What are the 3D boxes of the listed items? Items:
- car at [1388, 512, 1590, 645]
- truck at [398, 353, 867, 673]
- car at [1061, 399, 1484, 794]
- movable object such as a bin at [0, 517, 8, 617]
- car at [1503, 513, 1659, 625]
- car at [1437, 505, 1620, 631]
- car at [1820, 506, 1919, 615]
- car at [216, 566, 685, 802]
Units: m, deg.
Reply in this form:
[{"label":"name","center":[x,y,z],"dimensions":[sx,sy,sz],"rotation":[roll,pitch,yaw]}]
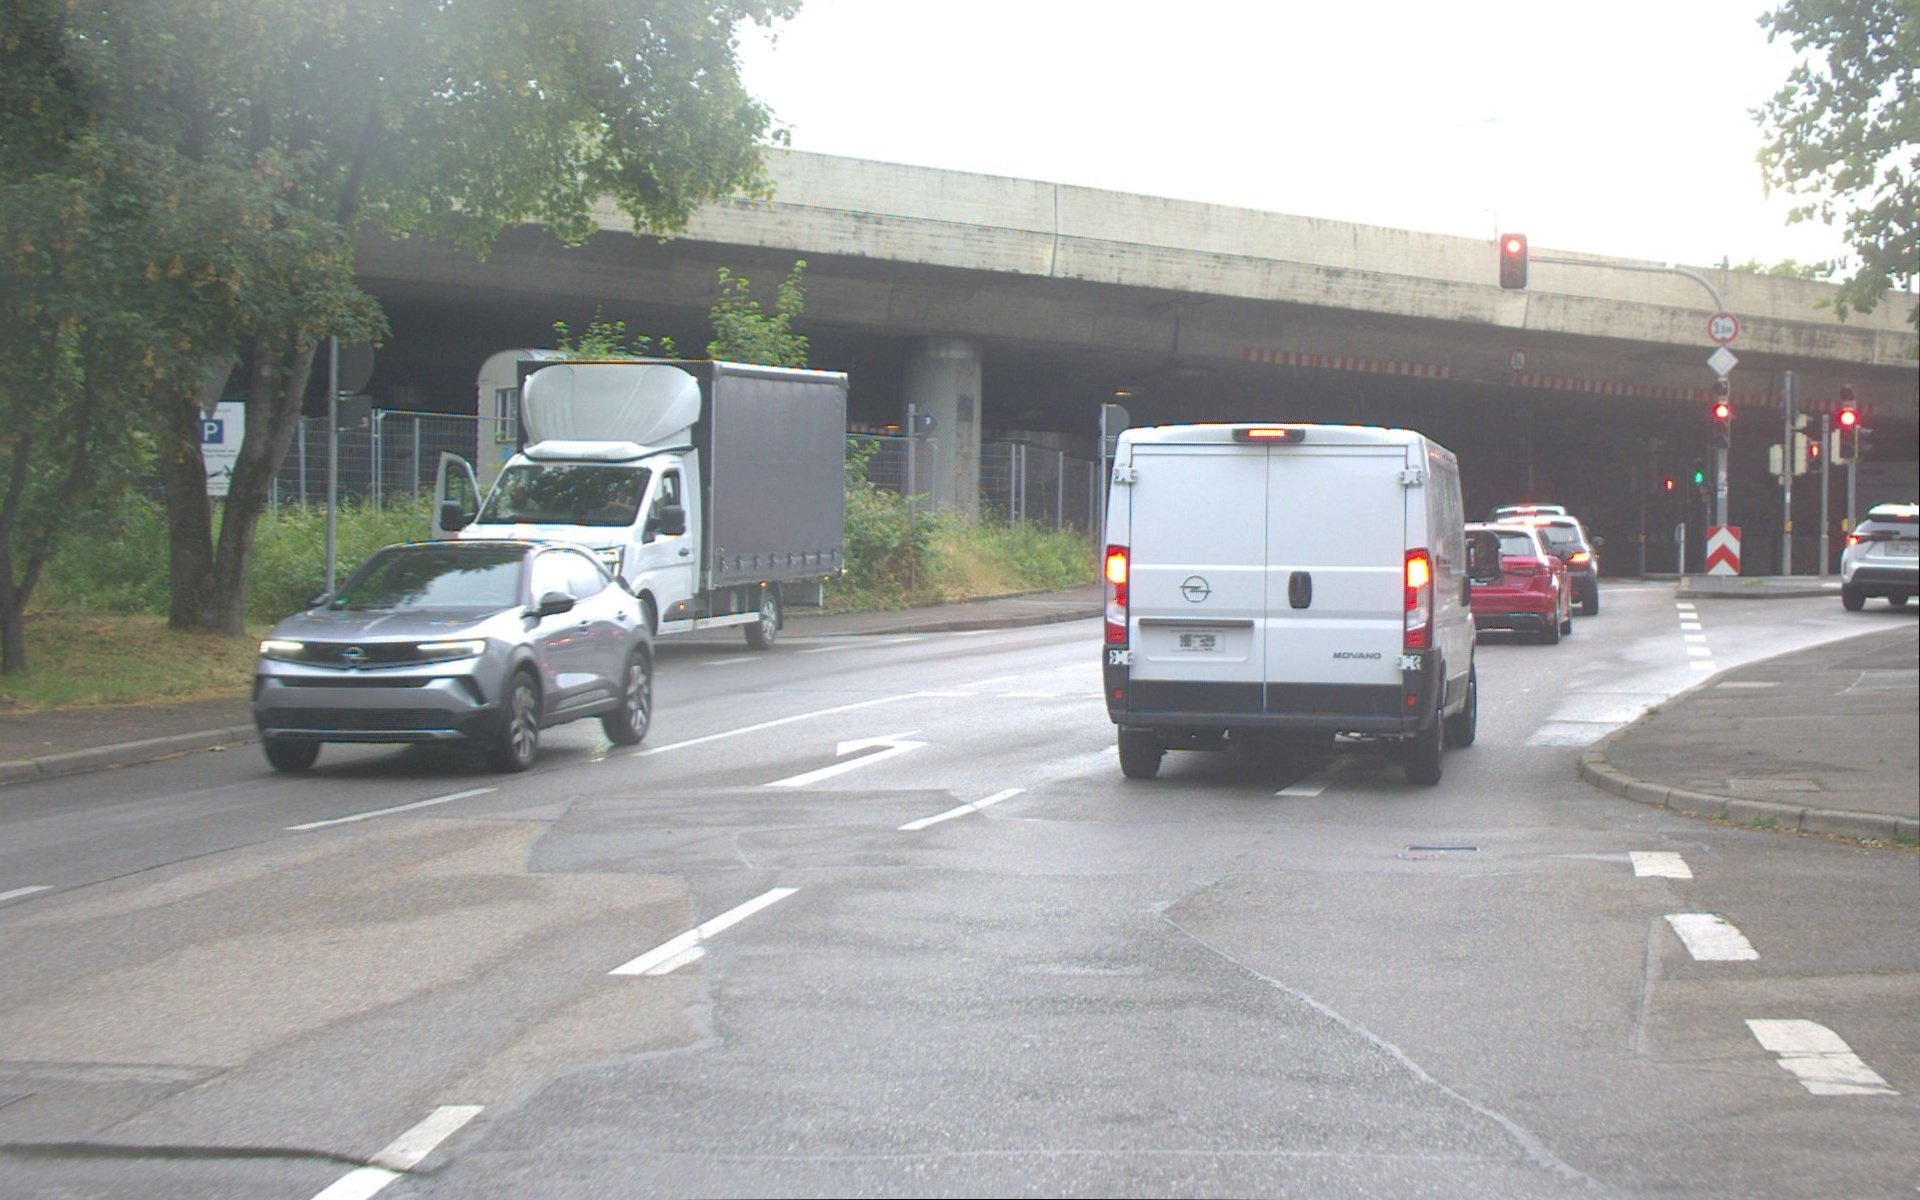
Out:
[{"label":"car","center":[6.469,-0.267,41.726],"dimensions":[1.995,1.508,3.997],"rotation":[1,1,15]},{"label":"truck","center":[-3.467,-0.964,38.785],"dimensions":[2.612,3.225,7.770],"rotation":[1,1,16]},{"label":"car","center":[2.260,-0.100,23.257],"dimensions":[2.306,2.335,5.280],"rotation":[1,2,11]},{"label":"movable object such as a bin","center":[-8.371,-0.029,26.913],"dimensions":[1.290,1.432,1.463],"rotation":[3,5,-33]},{"label":"car","center":[10.084,-0.500,55.630],"dimensions":[1.995,1.723,3.997],"rotation":[1,1,17]},{"label":"car","center":[8.225,-0.458,49.490],"dimensions":[1.995,1.723,3.996],"rotation":[1,1,18]},{"label":"car","center":[14.244,-0.567,50.777],"dimensions":[1.997,1.544,3.993],"rotation":[1,1,29]},{"label":"car","center":[-3.438,0.512,24.004],"dimensions":[1.896,1.456,3.998],"rotation":[0,1,13]}]
